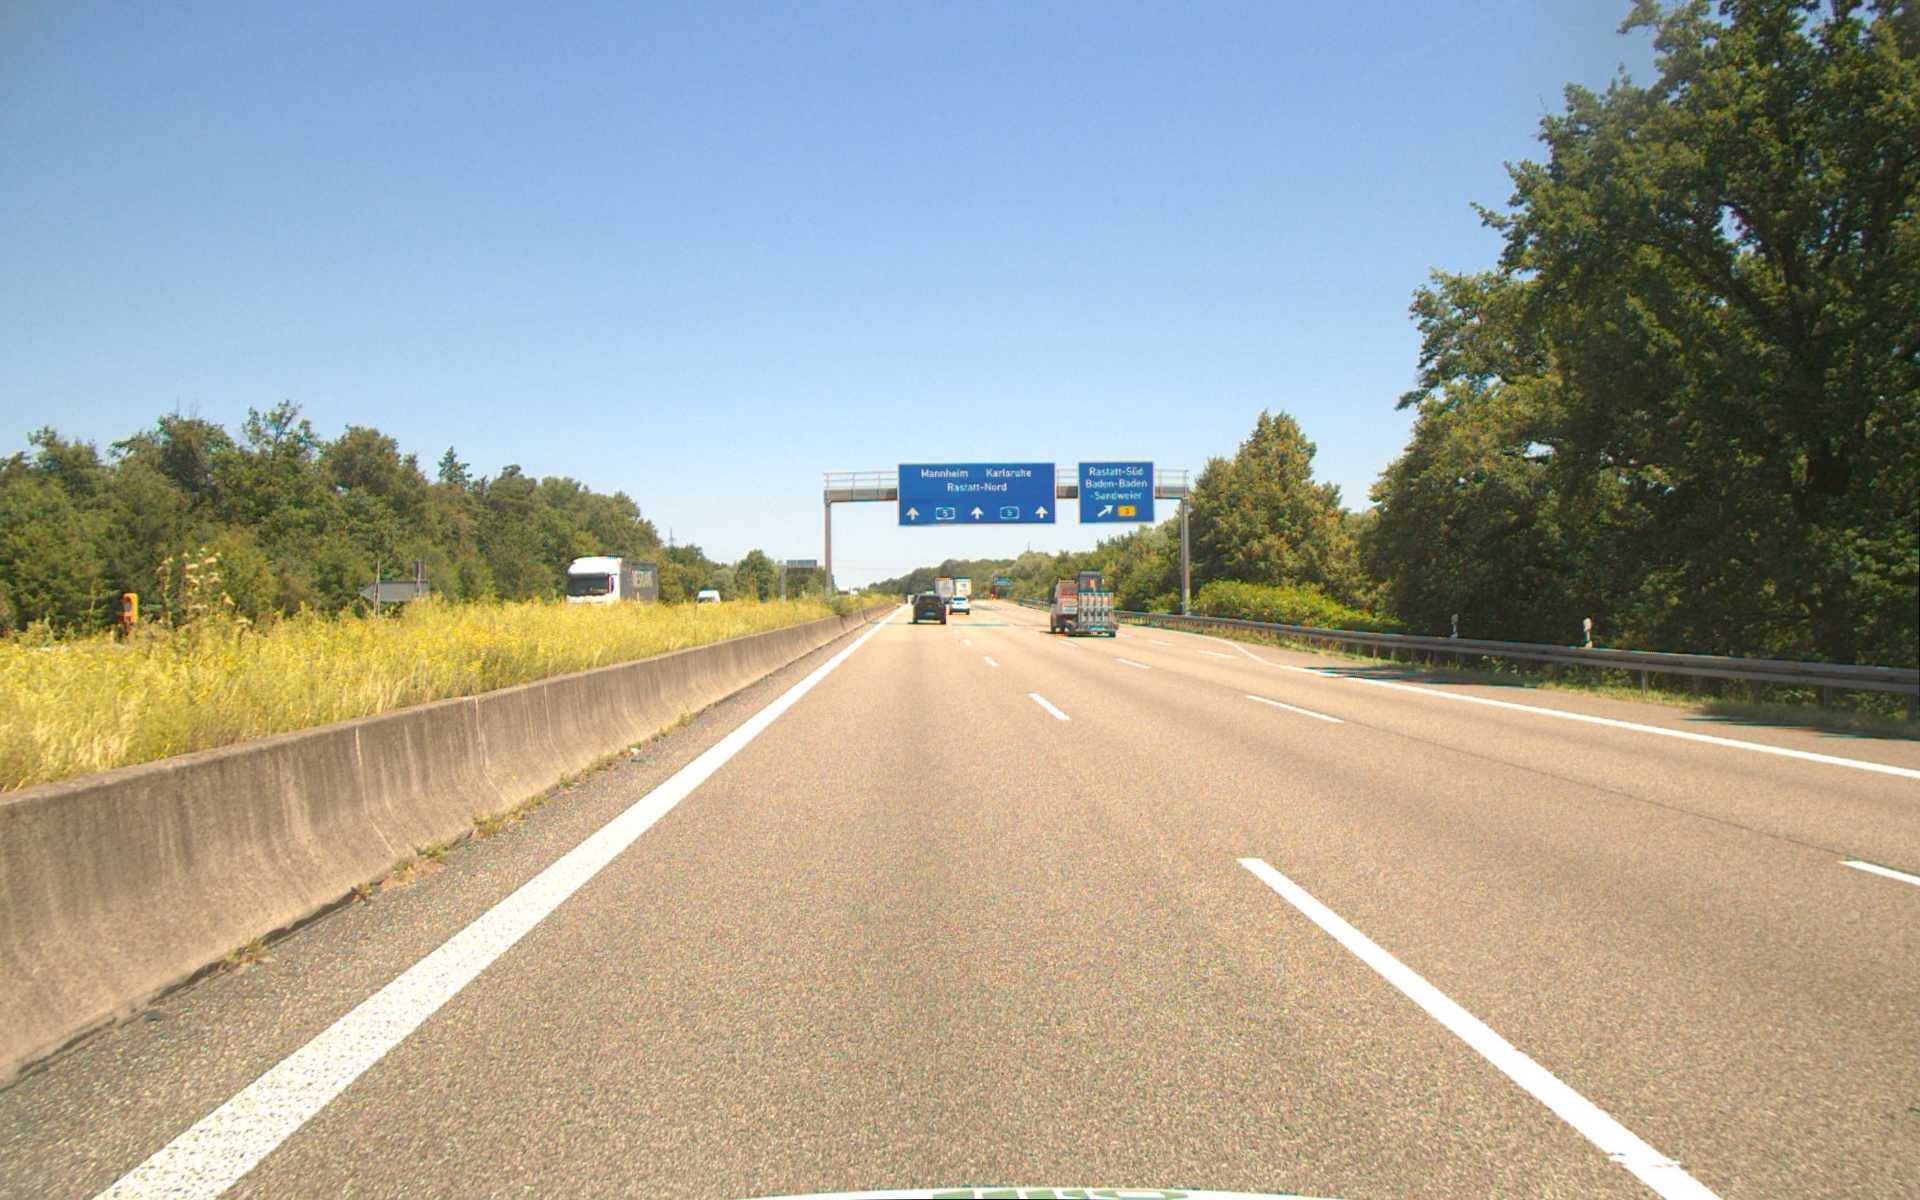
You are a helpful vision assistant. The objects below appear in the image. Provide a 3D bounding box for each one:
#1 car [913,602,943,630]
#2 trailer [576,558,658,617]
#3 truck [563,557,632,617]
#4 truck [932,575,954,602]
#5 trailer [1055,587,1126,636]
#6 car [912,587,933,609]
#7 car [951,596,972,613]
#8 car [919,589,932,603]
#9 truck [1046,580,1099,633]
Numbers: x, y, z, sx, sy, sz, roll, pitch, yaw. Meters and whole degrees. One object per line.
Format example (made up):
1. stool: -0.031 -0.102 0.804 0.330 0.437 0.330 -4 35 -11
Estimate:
1. car: -1.919 0.940 99.104 1.627 1.576 3.780 2 -1 -3
2. trailer: -19.952 -0.704 96.859 2.548 3.156 11.950 1 0 -2
3. truck: -19.779 -0.675 90.639 2.589 3.138 5.846 1 0 -2
4. truck: -2.765 -1.789 263.408 3.243 4.064 8.399 1 -1 -3
5. trailer: 5.683 0.484 72.881 2.372 2.049 6.030 0 0 -3
6. car: -3.590 -0.158 159.028 1.953 2.049 3.998 -1 0 -2
7. car: 0.117 0.400 147.231 1.705 1.512 3.998 0 0 -2
8. car: -5.283 -0.664 252.509 1.953 2.049 3.998 -1 -1 -2
9. truck: 5.301 0.276 78.218 1.954 2.415 4.642 0 0 -3
